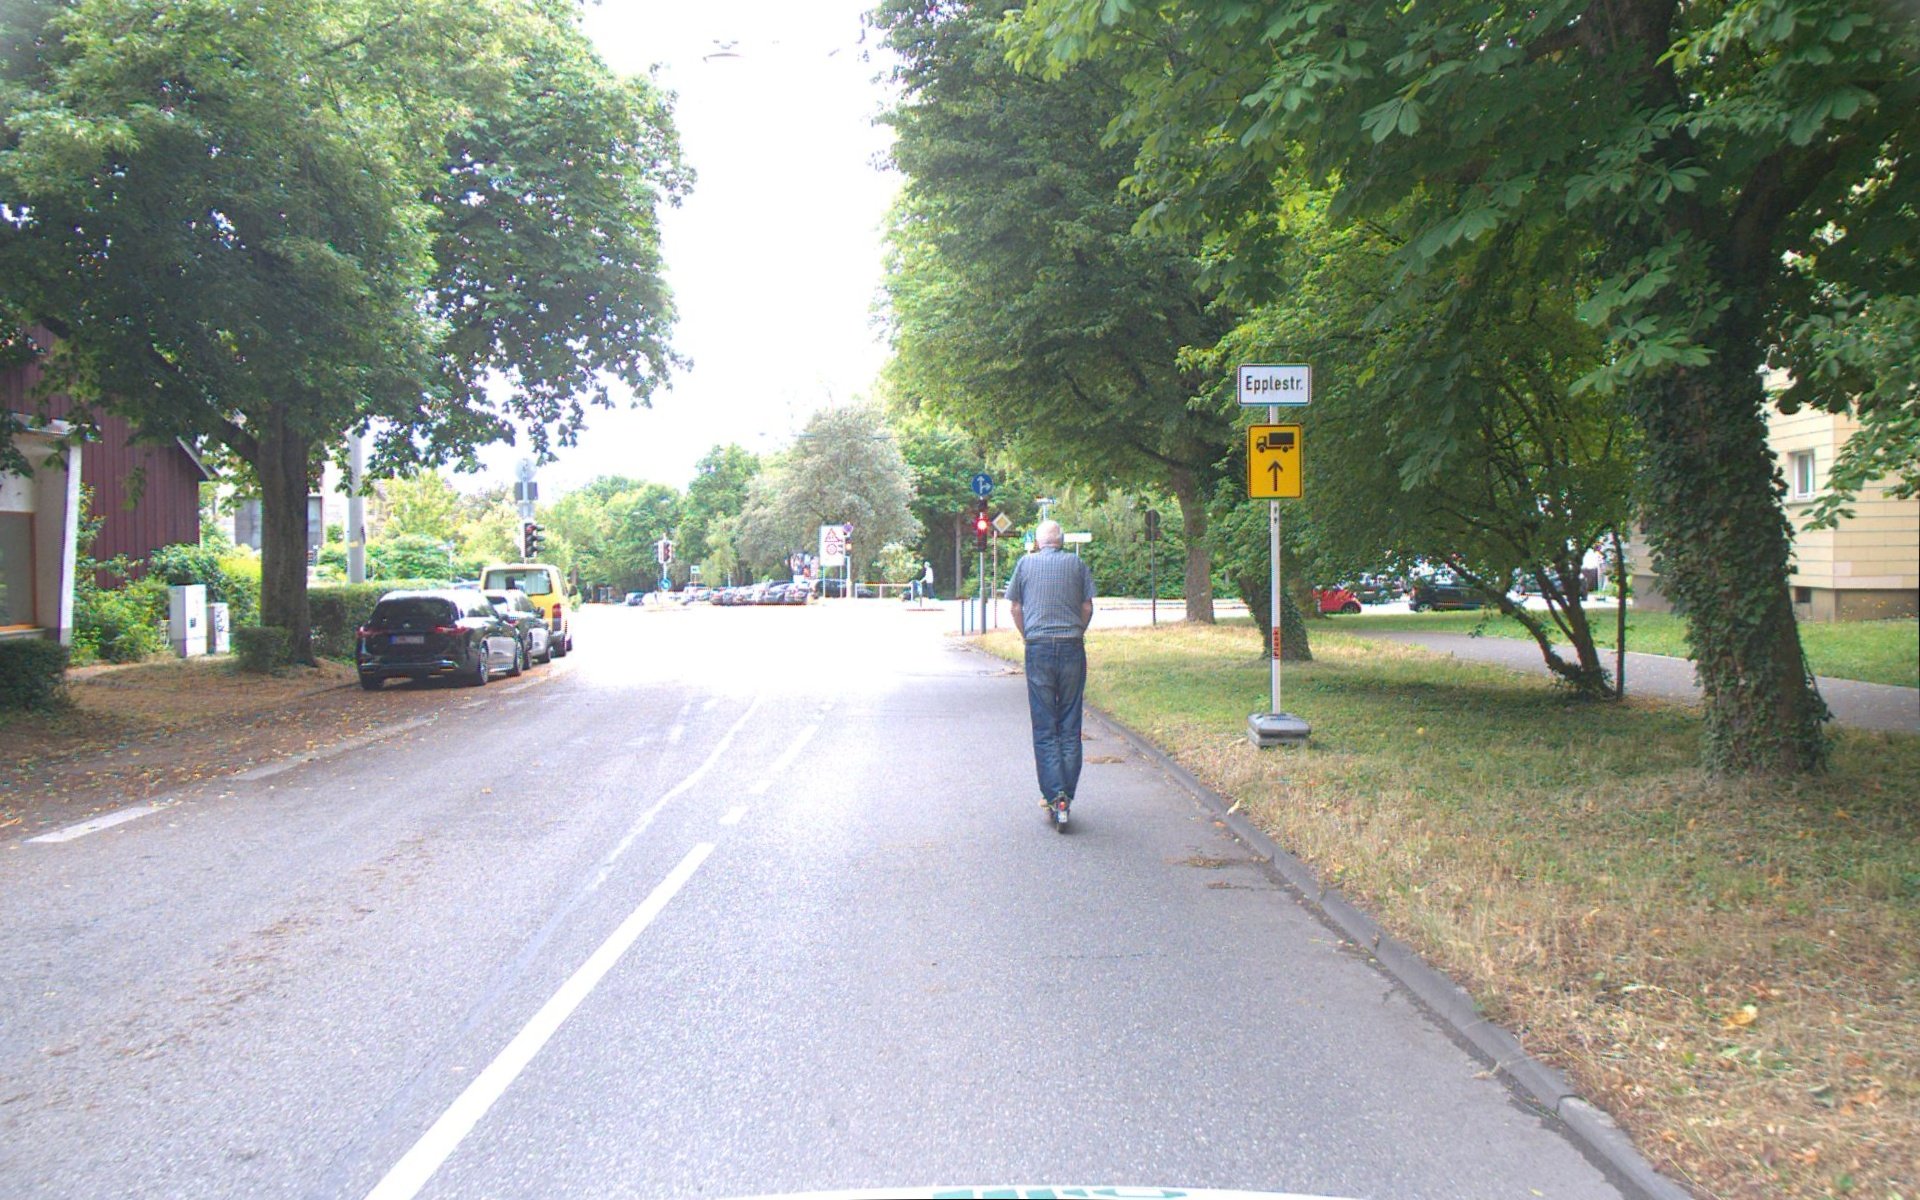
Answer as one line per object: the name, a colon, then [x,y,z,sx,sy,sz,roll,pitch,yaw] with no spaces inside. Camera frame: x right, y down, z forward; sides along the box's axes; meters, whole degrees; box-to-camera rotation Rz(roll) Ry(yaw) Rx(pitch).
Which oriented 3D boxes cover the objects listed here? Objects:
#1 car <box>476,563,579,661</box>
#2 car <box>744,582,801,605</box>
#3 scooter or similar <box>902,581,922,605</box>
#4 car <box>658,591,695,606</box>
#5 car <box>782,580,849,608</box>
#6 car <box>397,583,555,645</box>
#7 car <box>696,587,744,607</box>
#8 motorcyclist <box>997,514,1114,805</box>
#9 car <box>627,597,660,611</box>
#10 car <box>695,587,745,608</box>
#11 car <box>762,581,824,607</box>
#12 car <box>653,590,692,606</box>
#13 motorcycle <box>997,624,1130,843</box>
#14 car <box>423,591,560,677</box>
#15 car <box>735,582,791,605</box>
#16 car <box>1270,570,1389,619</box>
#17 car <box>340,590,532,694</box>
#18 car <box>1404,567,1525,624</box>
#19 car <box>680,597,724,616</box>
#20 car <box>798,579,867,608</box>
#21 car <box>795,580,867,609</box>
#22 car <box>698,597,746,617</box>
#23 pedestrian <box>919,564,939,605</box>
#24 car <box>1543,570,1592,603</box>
car: [-9.573,0.250,36.870,1.824,1.998,4.493,-2,0,-10]
car: [-13.352,-0.464,117.632,3.912,1.536,1.797,-2,1,-8]
scooter or similar: [-2.187,-0.320,74.680,0.695,1.067,0.788,-1,0,14]
car: [-31.468,-0.152,183.410,3.912,1.536,1.797,-2,1,-8]
car: [-8.781,-0.379,100.458,3.912,1.536,1.797,-2,1,-8]
car: [-13.088,0.354,44.895,3.915,1.536,1.796,-1,2,-11]
car: [-19.877,-0.221,137.096,3.912,1.536,1.797,-2,1,-8]
motorcyclist: [0.596,0.368,10.521,0.659,1.792,0.638,0,0,-4]
car: [-39.235,0.493,205.041,3.912,1.536,1.797,-2,1,-8]
car: [-19.367,-0.210,133.375,3.912,1.536,1.797,-2,1,-8]
car: [-10.805,-0.406,107.124,3.912,1.536,1.797,-2,1,-8]
car: [-29.853,-0.207,171.836,3.912,1.536,1.797,-2,1,-8]
motorcycle: [0.617,0.783,10.237,0.659,1.239,1.273,0,0,-4]
car: [-8.776,0.586,31.283,1.760,1.440,4.184,-2,1,-6]
car: [-14.240,-0.455,119.450,3.912,1.536,1.797,-2,1,-8]
car: [12.962,-0.208,58.164,3.902,1.584,1.802,1,4,7]
car: [-8.121,0.595,26.064,1.855,1.435,4.549,-2,0,-5]
car: [17.401,-0.183,57.031,3.904,1.756,1.801,1,4,20]
car: [-23.517,0.579,150.936,3.912,1.536,1.797,-2,1,-8]
car: [-7.493,-0.380,97.013,3.912,1.536,1.797,-2,1,-8]
car: [-7.295,-0.315,93.441,3.912,1.536,1.797,-2,1,-8]
car: [-20.046,0.566,139.553,3.912,1.536,1.797,-2,1,-8]
pedestrian: [-1.393,-0.698,74.516,0.716,1.792,0.662,-1,0,14]
car: [29.763,-0.689,81.119,2.039,1.536,4.002,-1,0,17]
